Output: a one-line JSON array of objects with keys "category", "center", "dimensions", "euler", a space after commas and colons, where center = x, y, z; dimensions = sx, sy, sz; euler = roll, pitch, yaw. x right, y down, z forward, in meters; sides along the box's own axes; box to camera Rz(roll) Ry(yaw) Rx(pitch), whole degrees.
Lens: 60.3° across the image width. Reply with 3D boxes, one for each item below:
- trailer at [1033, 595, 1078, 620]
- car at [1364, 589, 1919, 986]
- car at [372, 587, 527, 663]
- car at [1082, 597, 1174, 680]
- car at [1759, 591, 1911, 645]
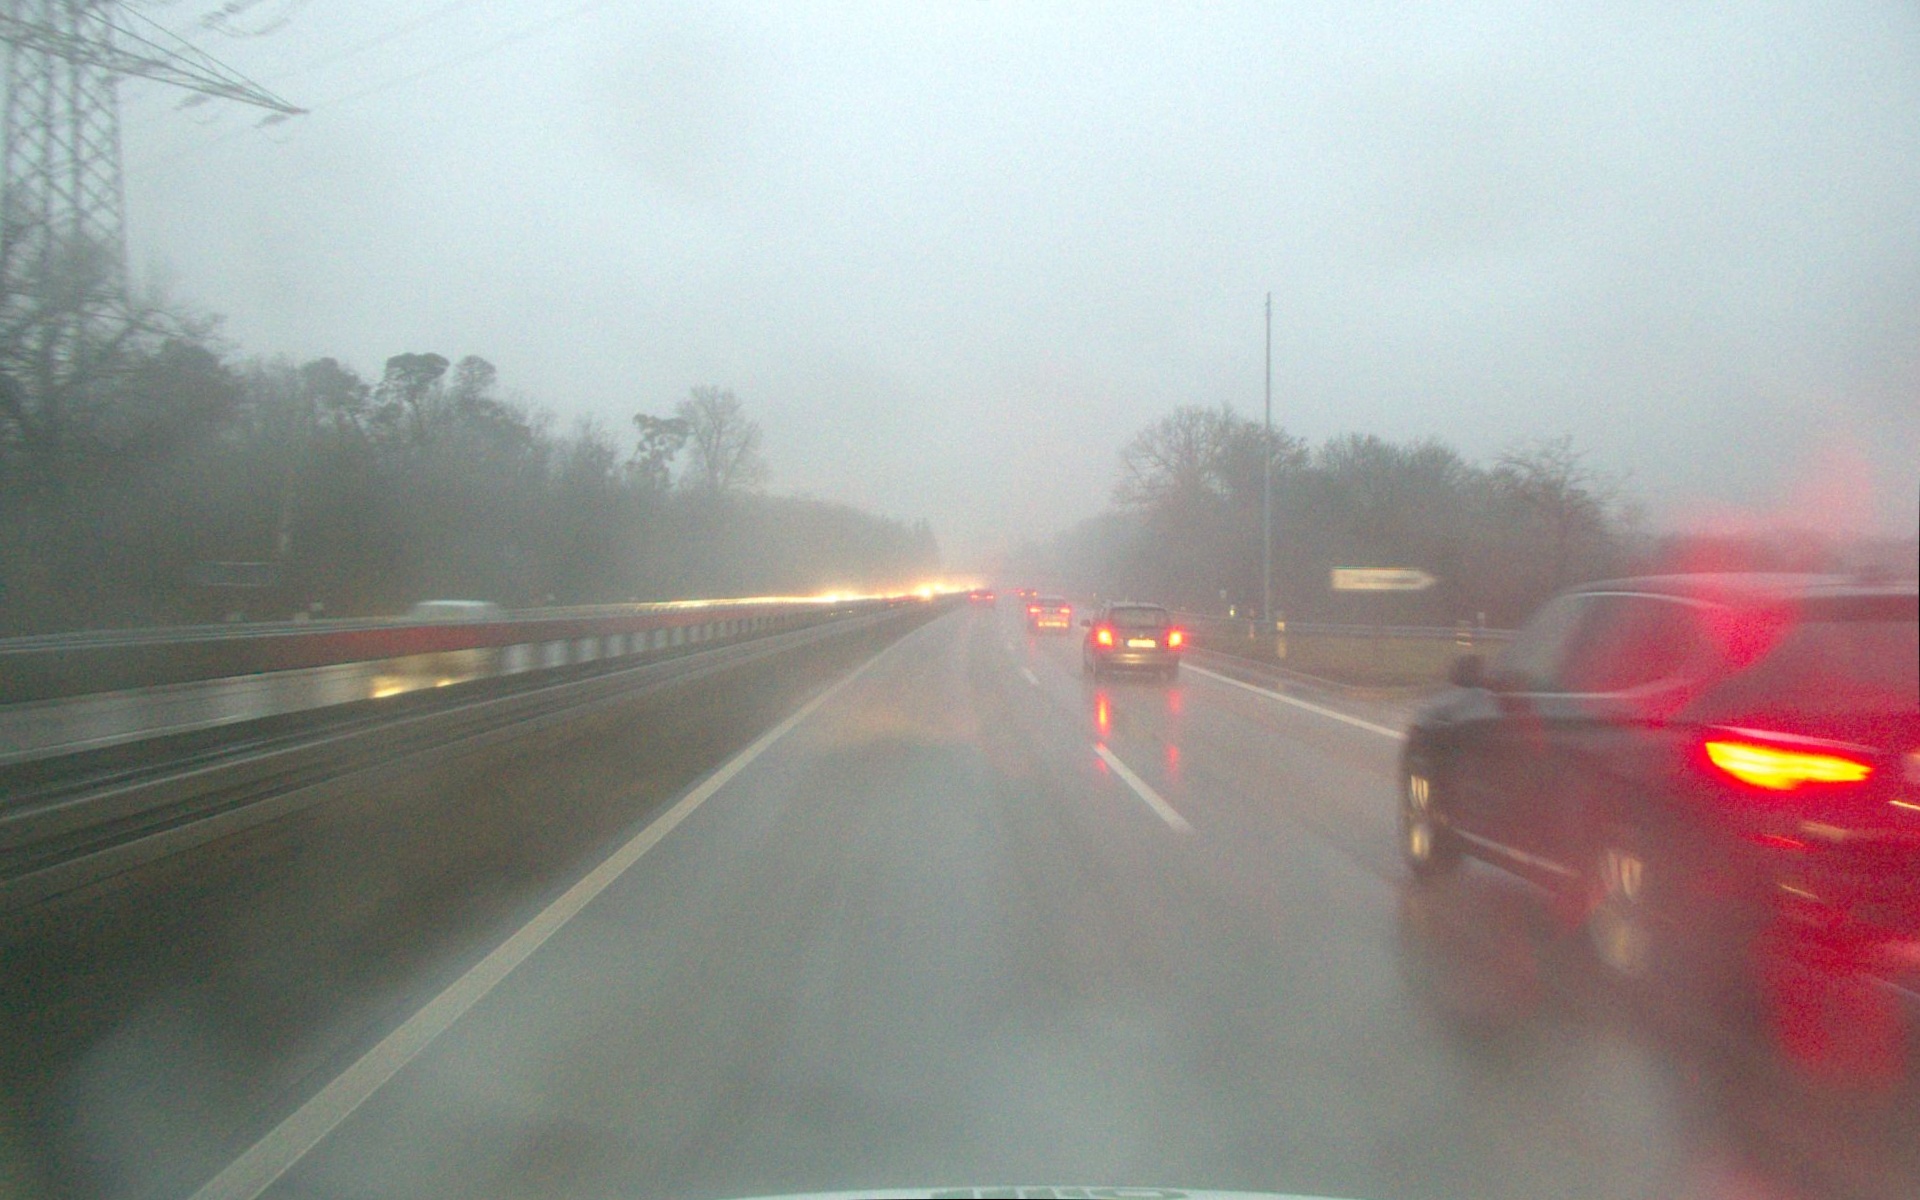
[{"category": "trailer", "center": [3.775, 0.287, 65.844], "dimensions": [1.712, 0.941, 2.951], "euler": [-1, 0, 2]}, {"category": "car", "center": [3.373, 0.725, 8.366], "dimensions": [1.644, 1.535, 3.808], "euler": [0, 0, -1]}, {"category": "car", "center": [-10.782, 0.483, 35.297], "dimensions": [1.886, 1.464, 4.550], "euler": [0, 1, 0]}, {"category": "car", "center": [3.294, 0.719, 32.893], "dimensions": [1.561, 1.517, 3.595], "euler": [0, 0, 2]}, {"category": "car", "center": [24.950, 0.483, 47.306], "dimensions": [3.732, 1.459, 1.792], "euler": [1, 0, 25]}]
